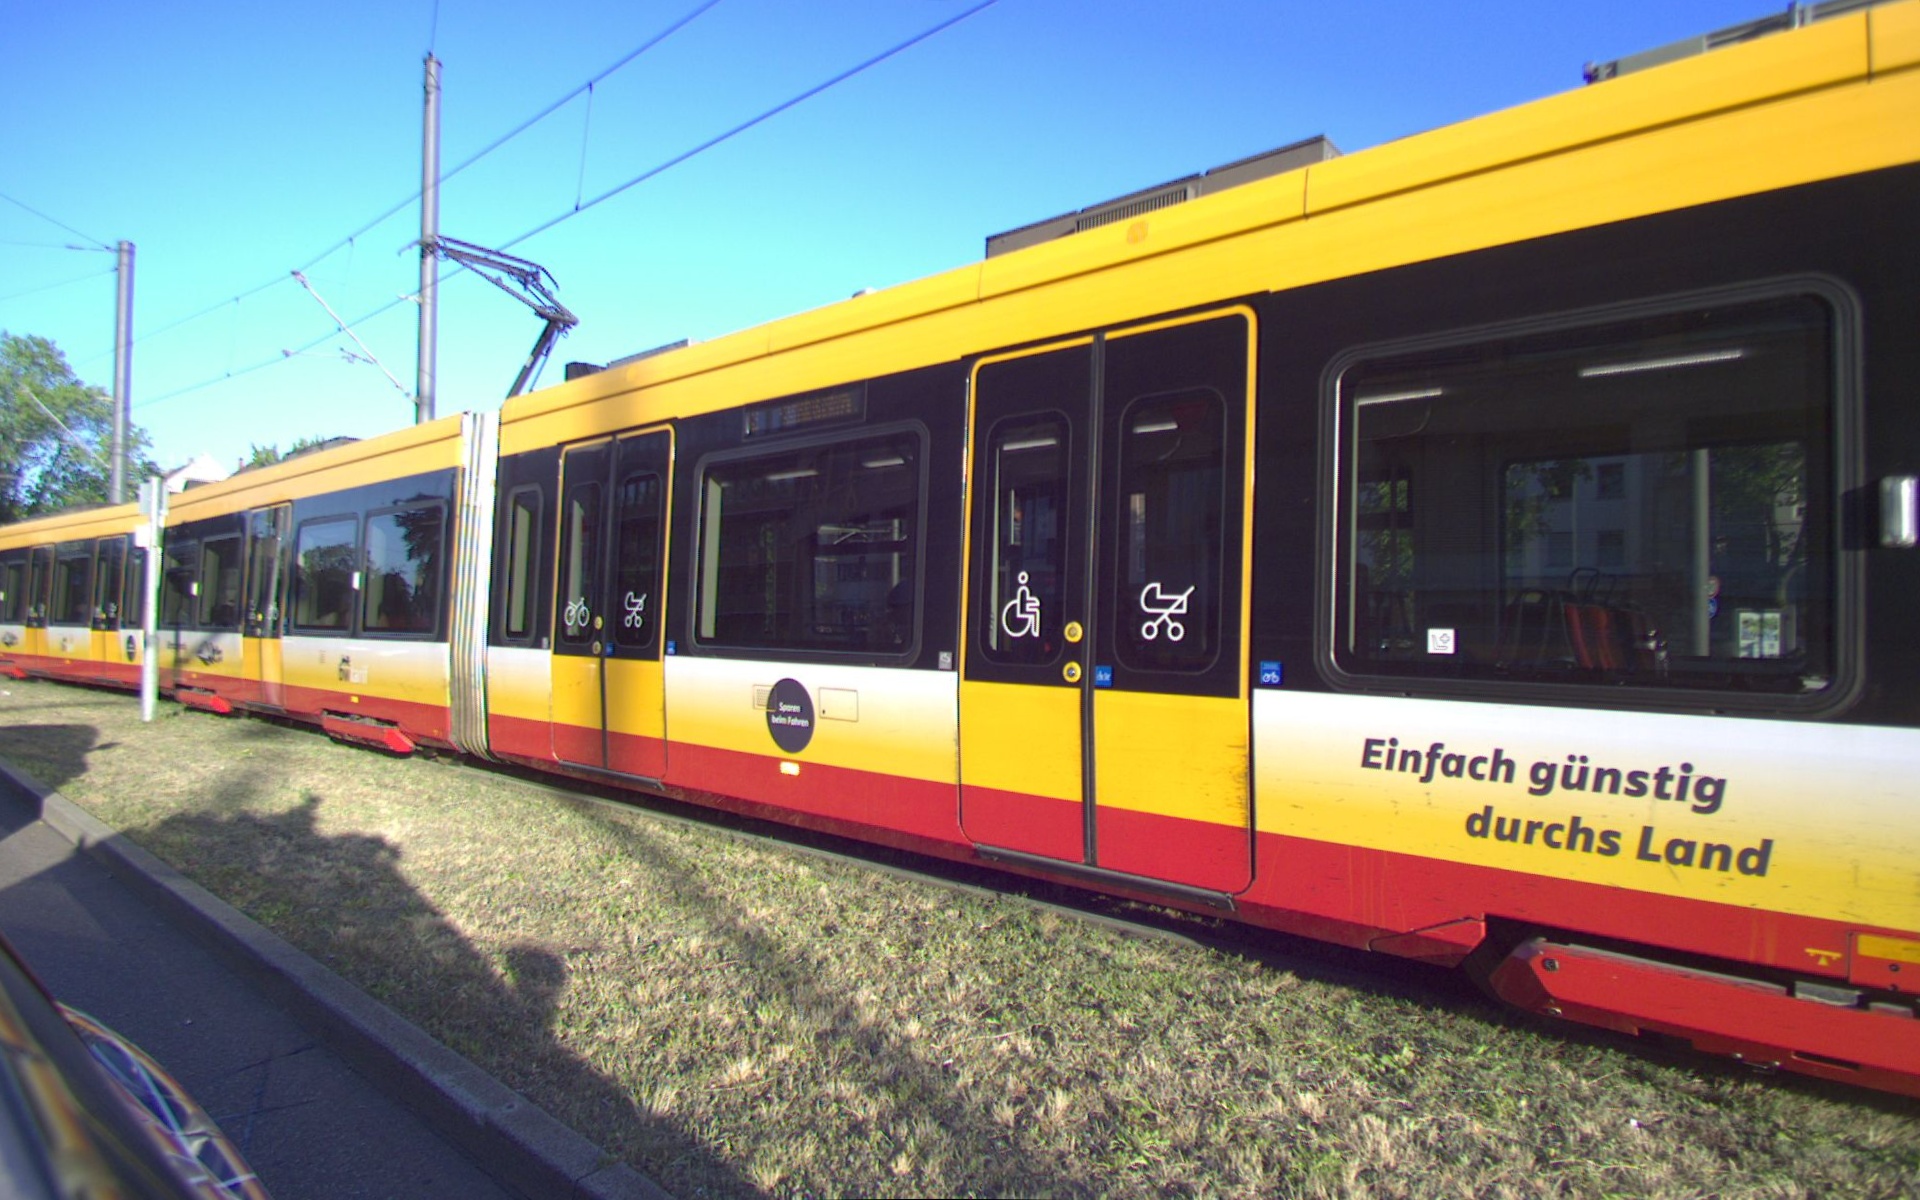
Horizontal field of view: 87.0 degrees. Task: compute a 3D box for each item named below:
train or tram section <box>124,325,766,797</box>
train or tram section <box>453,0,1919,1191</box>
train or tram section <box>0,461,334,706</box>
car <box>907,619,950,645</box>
[{"bbox_3d":[-7.545,-0.256,13.093,12.174,3.767,2.848,0,-1,40],"label":"train or tram section"},{"bbox_3d":[1.854,-0.341,5.017,13.209,3.767,2.879,-1,-1,41],"label":"train or tram section"},{"bbox_3d":[-16.867,-0.201,20.366,12.167,3.767,2.879,0,-1,36],"label":"train or tram section"},{"bbox_3d":[-2.451,2.430,77.599,1.965,1.893,4.013,1,-1,-23],"label":"car"}]
